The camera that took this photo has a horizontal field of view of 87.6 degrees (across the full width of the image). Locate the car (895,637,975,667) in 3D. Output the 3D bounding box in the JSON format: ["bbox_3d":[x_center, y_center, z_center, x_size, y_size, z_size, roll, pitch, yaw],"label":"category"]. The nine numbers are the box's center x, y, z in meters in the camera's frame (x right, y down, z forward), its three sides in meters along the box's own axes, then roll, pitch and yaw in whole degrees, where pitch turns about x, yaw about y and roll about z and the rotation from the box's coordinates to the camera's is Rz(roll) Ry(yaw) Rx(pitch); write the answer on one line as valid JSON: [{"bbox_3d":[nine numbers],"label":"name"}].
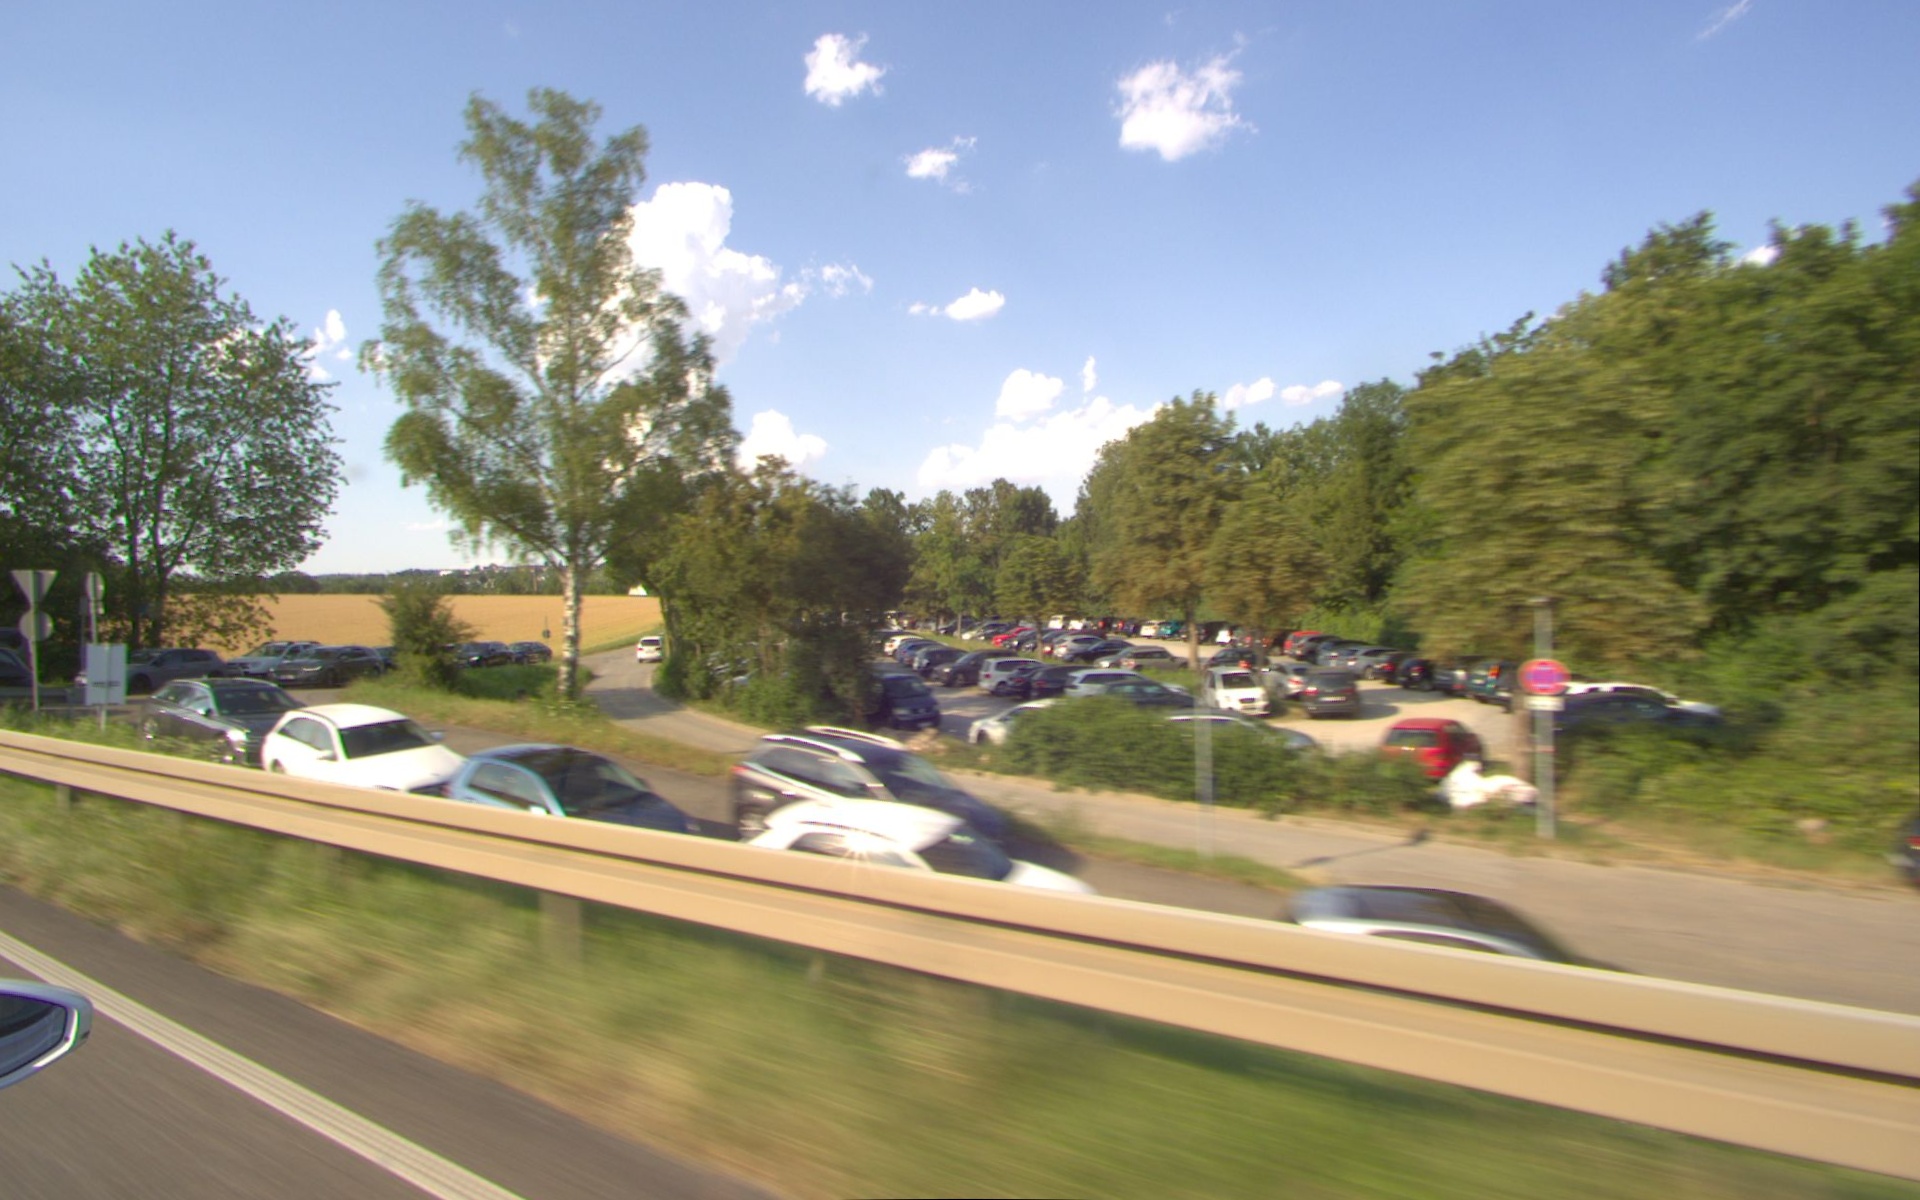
[{"bbox_3d":[-1.522,3.101,60.206,4.512,1.713,1.802,0,-1,-13],"label":"car"}]

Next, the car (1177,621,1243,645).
[{"bbox_3d":[18.413,2.445,73.861,4.507,1.713,1.804,0,-1,5],"label":"car"}]

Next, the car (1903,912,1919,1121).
[{"bbox_3d":[9.425,3.414,6.271,4.707,1.581,1.889,1,3,28],"label":"car"}]

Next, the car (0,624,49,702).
[{"bbox_3d":[-25.948,1.402,24.359,1.946,1.966,5.138,0,-6,32],"label":"car"}]

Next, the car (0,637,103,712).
[{"bbox_3d":[-20.534,1.515,20.711,1.687,1.527,4.331,2,-4,3],"label":"car"}]

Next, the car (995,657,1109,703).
[{"bbox_3d":[3.901,3.370,42.554,4.519,1.713,1.799,0,-1,-21],"label":"car"}]

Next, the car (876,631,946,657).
[{"bbox_3d":[-3.362,2.978,68.168,4.512,1.713,1.802,0,-1,-13],"label":"car"}]

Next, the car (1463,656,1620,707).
[{"bbox_3d":[20.687,2.883,35.776,4.507,1.713,1.804,0,-1,5],"label":"car"}]

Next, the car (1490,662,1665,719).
[{"bbox_3d":[20.026,2.906,32.628,4.507,1.713,1.804,0,-1,5],"label":"car"}]

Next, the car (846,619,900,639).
[{"bbox_3d":[-7.695,2.585,88.447,4.512,1.713,1.802,0,-1,-13],"label":"car"}]

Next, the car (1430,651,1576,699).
[{"bbox_3d":[20.493,2.805,37.922,4.507,1.713,1.804,0,-1,5],"label":"car"}]

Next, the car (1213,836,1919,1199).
[{"bbox_3d":[4.743,3.326,8.530,4.707,1.581,1.889,1,3,28],"label":"car"}]

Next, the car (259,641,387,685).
[{"bbox_3d":[-22.551,2.213,35.678,1.776,1.459,4.593,1,-3,-3],"label":"car"}]

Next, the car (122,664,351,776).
[{"bbox_3d":[-14.254,2.243,19.668,4.710,1.581,1.888,1,3,31],"label":"car"}]

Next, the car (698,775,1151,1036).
[{"bbox_3d":[-0.447,3.133,11.079,4.707,1.581,1.889,1,3,28],"label":"car"}]

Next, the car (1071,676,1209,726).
[{"bbox_3d":[6.197,3.489,34.792,4.507,1.563,1.804,0,-1,2],"label":"car"}]

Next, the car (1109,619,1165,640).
[{"bbox_3d":[15.074,2.512,85.539,4.507,1.713,1.804,0,-1,5],"label":"car"}]

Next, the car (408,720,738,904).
[{"bbox_3d":[-5.518,2.799,14.110,4.713,1.581,1.887,1,3,32],"label":"car"}]

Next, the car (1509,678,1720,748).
[{"bbox_3d":[17.951,3.079,27.672,4.509,1.713,1.803,0,-1,11],"label":"car"}]

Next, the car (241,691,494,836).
[{"bbox_3d":[-10.036,2.595,16.842,4.717,1.581,1.885,2,3,35],"label":"car"}]

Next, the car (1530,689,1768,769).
[{"bbox_3d":[16.993,3.158,24.926,4.509,1.713,1.803,0,-1,11],"label":"car"}]

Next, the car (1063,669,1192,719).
[{"bbox_3d":[6.117,3.436,36.932,4.507,1.713,1.804,0,-1,2],"label":"car"}]

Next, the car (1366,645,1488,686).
[{"bbox_3d":[20.390,2.855,43.847,4.507,1.713,1.804,0,-1,5],"label":"car"}]

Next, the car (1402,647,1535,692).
[{"bbox_3d":[20.729,2.827,40.952,4.507,1.713,1.804,0,-1,5],"label":"car"}]

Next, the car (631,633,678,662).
[{"bbox_3d":[-20.501,3.145,67.316,1.961,1.638,4.641,0,1,-3],"label":"car"}]

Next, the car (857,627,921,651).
[{"bbox_3d":[-5.266,2.868,74.500,4.512,1.713,1.802,0,-1,-13],"label":"car"}]

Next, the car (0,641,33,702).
[{"bbox_3d":[-23.158,1.500,21.737,1.687,1.416,4.330,2,-4,6],"label":"car"}]

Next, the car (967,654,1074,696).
[{"bbox_3d":[2.694,3.330,44.891,4.512,1.713,1.802,0,-1,-13],"label":"car"}]

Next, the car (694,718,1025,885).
[{"bbox_3d":[-1.558,2.813,14.826,4.712,1.697,1.889,0,0,31],"label":"car"}]

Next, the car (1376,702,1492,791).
[{"bbox_3d":[11.152,3.346,23.434,1.634,1.563,3.749,-1,-1,39],"label":"car"}]

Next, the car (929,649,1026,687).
[{"bbox_3d":[0.834,3.328,49.385,4.512,1.713,1.802,0,-1,-13],"label":"car"}]

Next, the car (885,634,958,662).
[{"bbox_3d":[-2.540,3.083,65.213,4.512,1.713,1.802,0,-1,-13],"label":"car"}]

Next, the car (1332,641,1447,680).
[{"bbox_3d":[19.688,2.756,46.051,4.507,1.713,1.804,0,-1,5],"label":"car"}]

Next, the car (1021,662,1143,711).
[{"bbox_3d":[4.876,3.409,39.934,4.519,1.713,1.799,0,-1,-21],"label":"car"}]

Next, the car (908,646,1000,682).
[{"bbox_3d":[-0.325,3.300,51.722,4.512,1.713,1.802,0,-1,-13],"label":"car"}]

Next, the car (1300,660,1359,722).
[{"bbox_3d":[12.727,3.065,34.457,1.786,1.776,4.141,0,-1,21],"label":"car"}]

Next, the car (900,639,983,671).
[{"bbox_3d":[-1.089,3.172,57.813,4.512,1.713,1.802,0,-1,-13],"label":"car"}]

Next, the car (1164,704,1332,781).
[{"bbox_3d":[7.421,3.606,25.805,3.936,1.563,1.797,-1,-1,26],"label":"car"}]
